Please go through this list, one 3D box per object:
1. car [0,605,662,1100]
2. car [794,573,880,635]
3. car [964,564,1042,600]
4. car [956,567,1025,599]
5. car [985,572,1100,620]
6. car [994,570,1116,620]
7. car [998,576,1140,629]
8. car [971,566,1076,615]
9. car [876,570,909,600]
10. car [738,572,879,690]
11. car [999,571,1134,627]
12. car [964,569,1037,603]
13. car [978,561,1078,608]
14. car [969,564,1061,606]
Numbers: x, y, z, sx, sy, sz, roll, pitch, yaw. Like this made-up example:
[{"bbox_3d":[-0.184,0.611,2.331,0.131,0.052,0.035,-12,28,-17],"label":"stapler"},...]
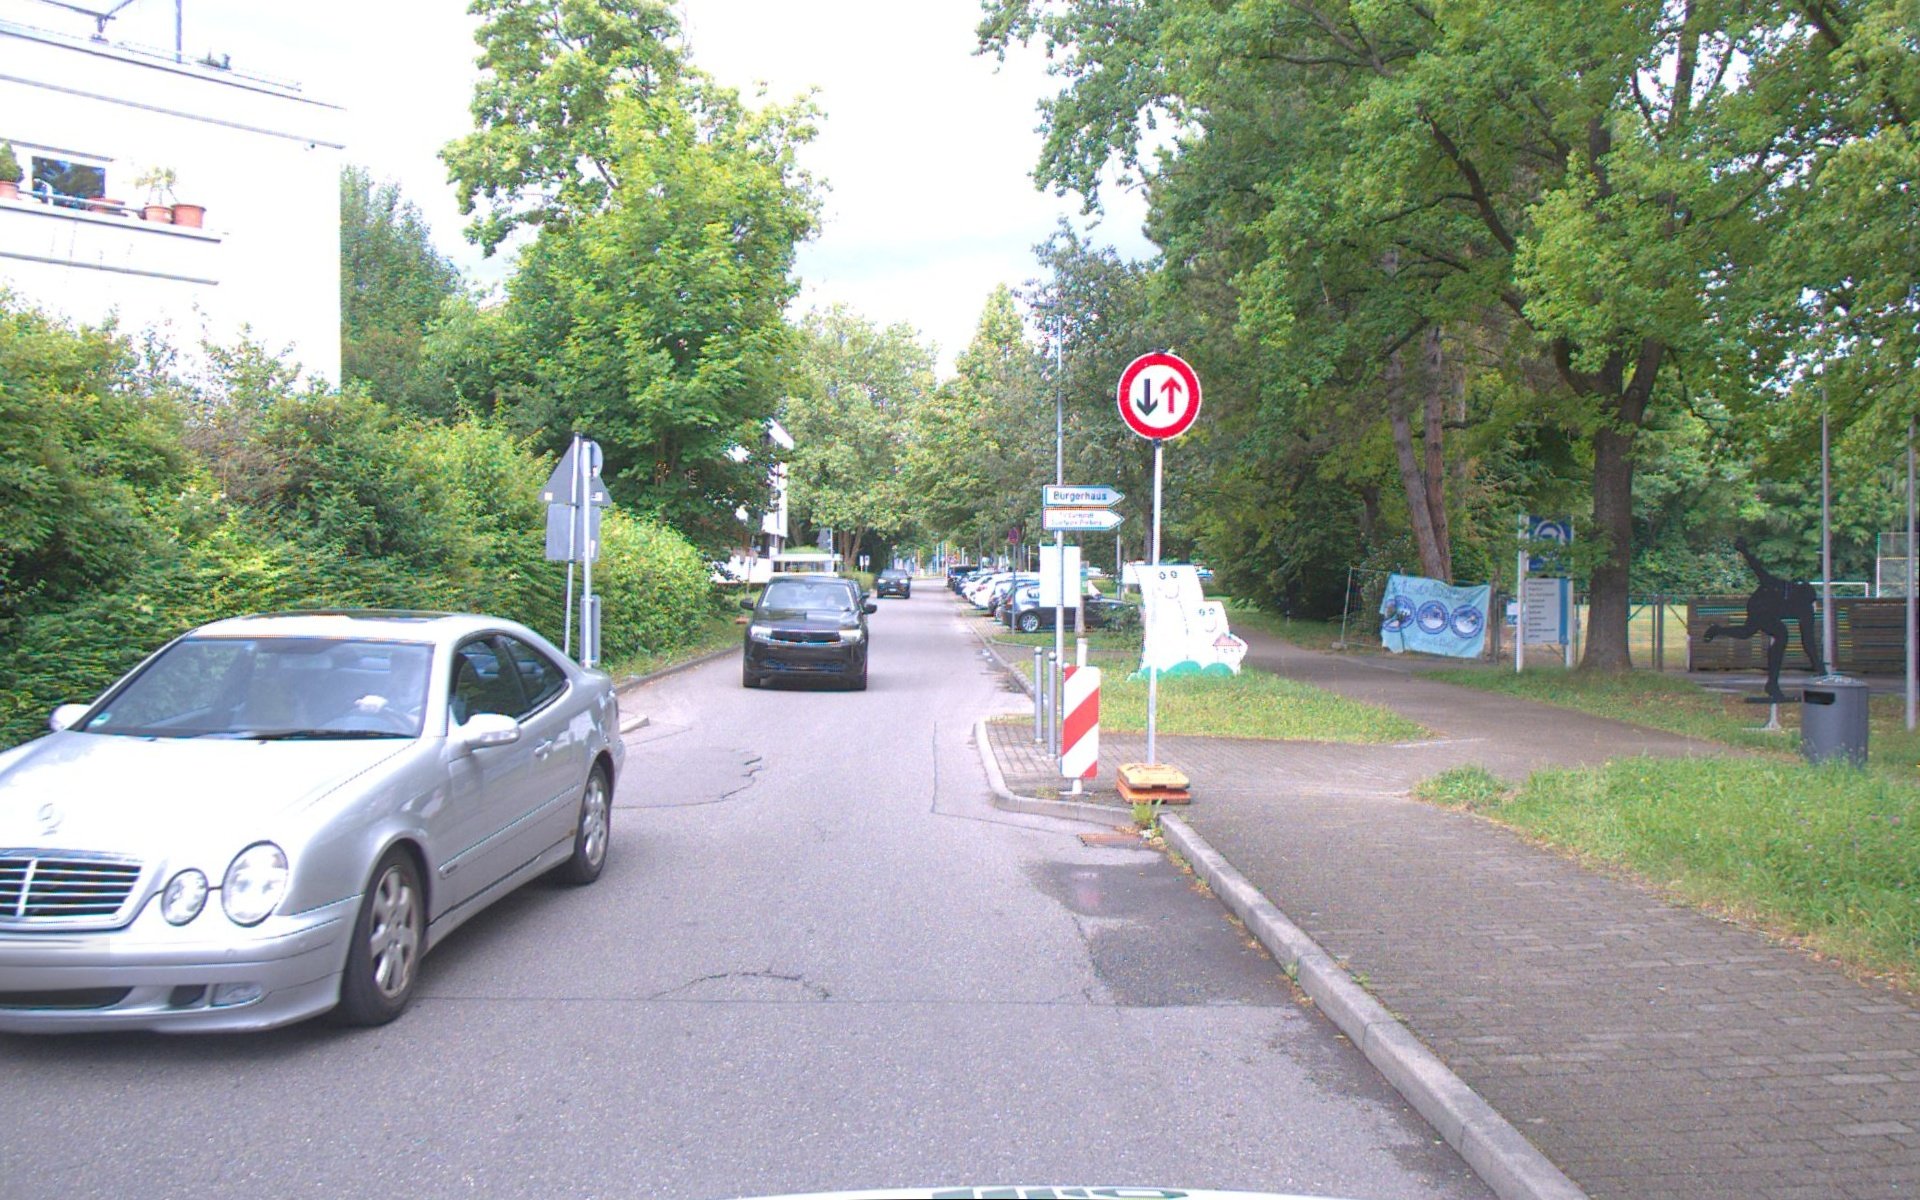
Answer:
[{"bbox_3d":[-2.638,0.726,6.906,1.743,1.329,4.298,1,1,4],"label":"car"},{"bbox_3d":[-3.366,0.090,46.021,1.765,1.619,4.298,1,1,4],"label":"car"},{"bbox_3d":[2.340,-0.973,89.942,3.984,1.716,1.821,-3,1,-5],"label":"car"},{"bbox_3d":[1.823,-1.051,100.822,3.984,1.716,1.821,-3,1,-5],"label":"car"},{"bbox_3d":[3.023,-0.171,61.335,3.984,1.514,1.821,-3,1,-5],"label":"car"},{"bbox_3d":[3.195,-0.176,56.240,3.981,1.595,1.822,-1,1,-2],"label":"car"},{"bbox_3d":[3.173,0.092,48.764,3.981,1.459,1.999,-1,-1,-2],"label":"car"},{"bbox_3d":[2.534,-0.382,66.454,3.984,1.716,1.821,-3,1,-5],"label":"car"},{"bbox_3d":[-4.107,-0.920,101.147,1.929,1.778,4.337,1,1,-2],"label":"car"},{"bbox_3d":[-2.204,0.406,25.039,1.766,1.619,4.296,1,1,-1],"label":"car"},{"bbox_3d":[3.245,-0.024,50.883,3.981,1.596,1.821,-1,-1,-2],"label":"car"},{"bbox_3d":[2.328,-0.832,95.820,3.984,1.716,1.821,-3,1,-5],"label":"car"},{"bbox_3d":[2.863,-0.656,70.346,3.984,1.716,1.821,-3,1,-5],"label":"car"},{"bbox_3d":[2.524,-0.706,76.638,3.984,1.716,1.821,-3,1,-5],"label":"car"}]
